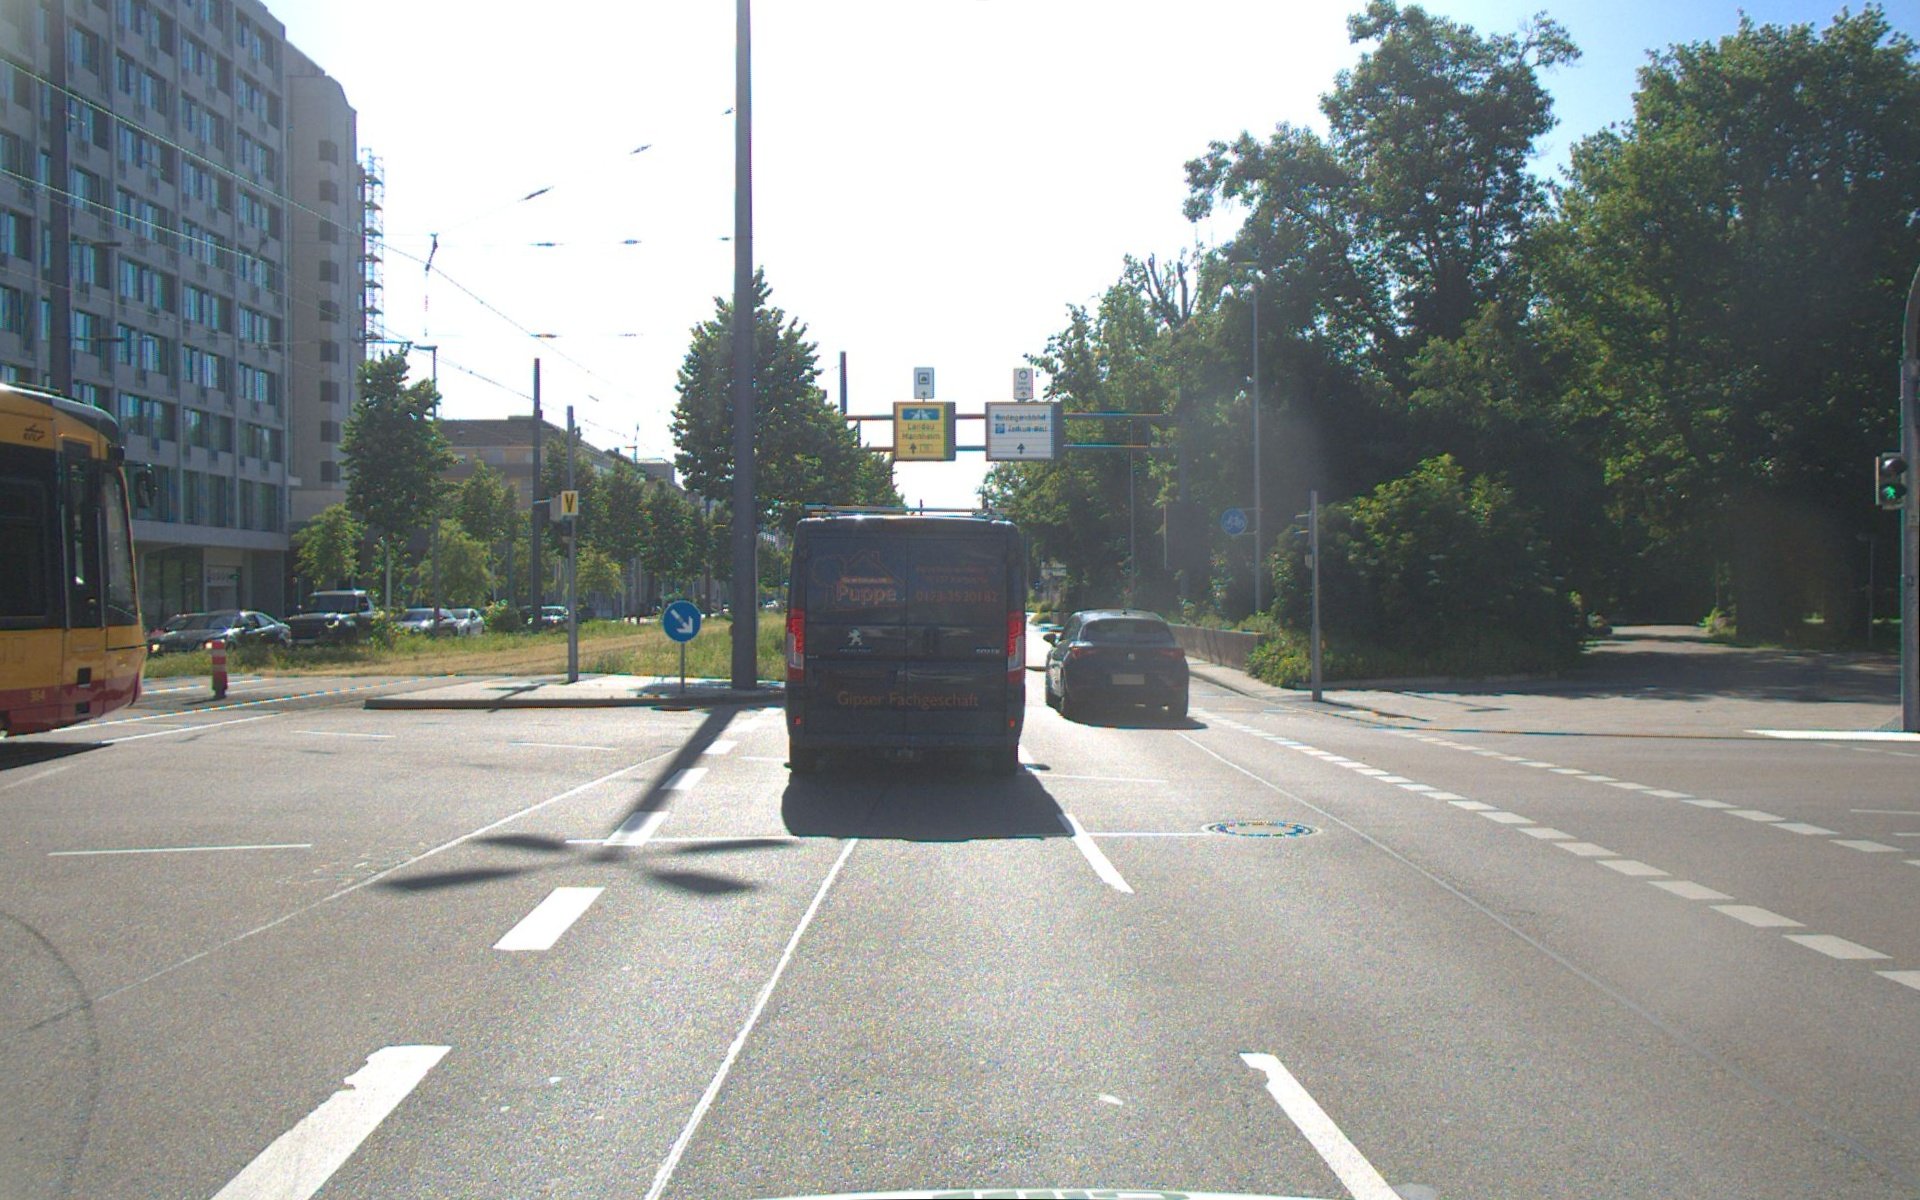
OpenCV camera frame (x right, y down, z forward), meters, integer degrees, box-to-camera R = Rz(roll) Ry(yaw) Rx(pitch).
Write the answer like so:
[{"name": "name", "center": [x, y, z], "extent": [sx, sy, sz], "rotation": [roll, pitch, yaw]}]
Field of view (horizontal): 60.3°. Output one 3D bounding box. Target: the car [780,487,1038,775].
[{"name": "car", "center": [-0.438, 0.261, 15.281], "extent": [2.040, 2.288, 3.999], "rotation": [1, 0, -1]}]

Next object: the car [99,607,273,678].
[{"name": "car", "center": [-18.412, 0.971, 39.548], "extent": [1.951, 1.579, 4.003], "rotation": [1, 0, 6]}]

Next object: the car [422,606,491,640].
[{"name": "car", "center": [-24.115, 1.079, 79.327], "extent": [1.952, 1.579, 4.001], "rotation": [1, 0, 1]}]

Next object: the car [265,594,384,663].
[{"name": "car", "center": [-17.988, 0.795, 47.033], "extent": [1.954, 1.851, 4.282], "rotation": [1, 0, -4]}]

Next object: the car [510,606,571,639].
[{"name": "car", "center": [-21.059, 1.126, 83.188], "extent": [1.952, 1.579, 4.001], "rotation": [1, 0, 1]}]

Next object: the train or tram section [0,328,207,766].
[{"name": "train or tram section", "center": [-9.253, -0.468, 11.819], "extent": [1.952, 3.733, 11.686], "rotation": [1, 0, 2]}]

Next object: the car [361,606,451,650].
[{"name": "car", "center": [-21.003, 1.039, 62.842], "extent": [1.952, 1.579, 4.001], "rotation": [1, 0, 1]}]

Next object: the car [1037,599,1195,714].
[{"name": "car", "center": [2.135, 0.744, 23.653], "extent": [1.728, 1.488, 3.998], "rotation": [1, 0, -2]}]
